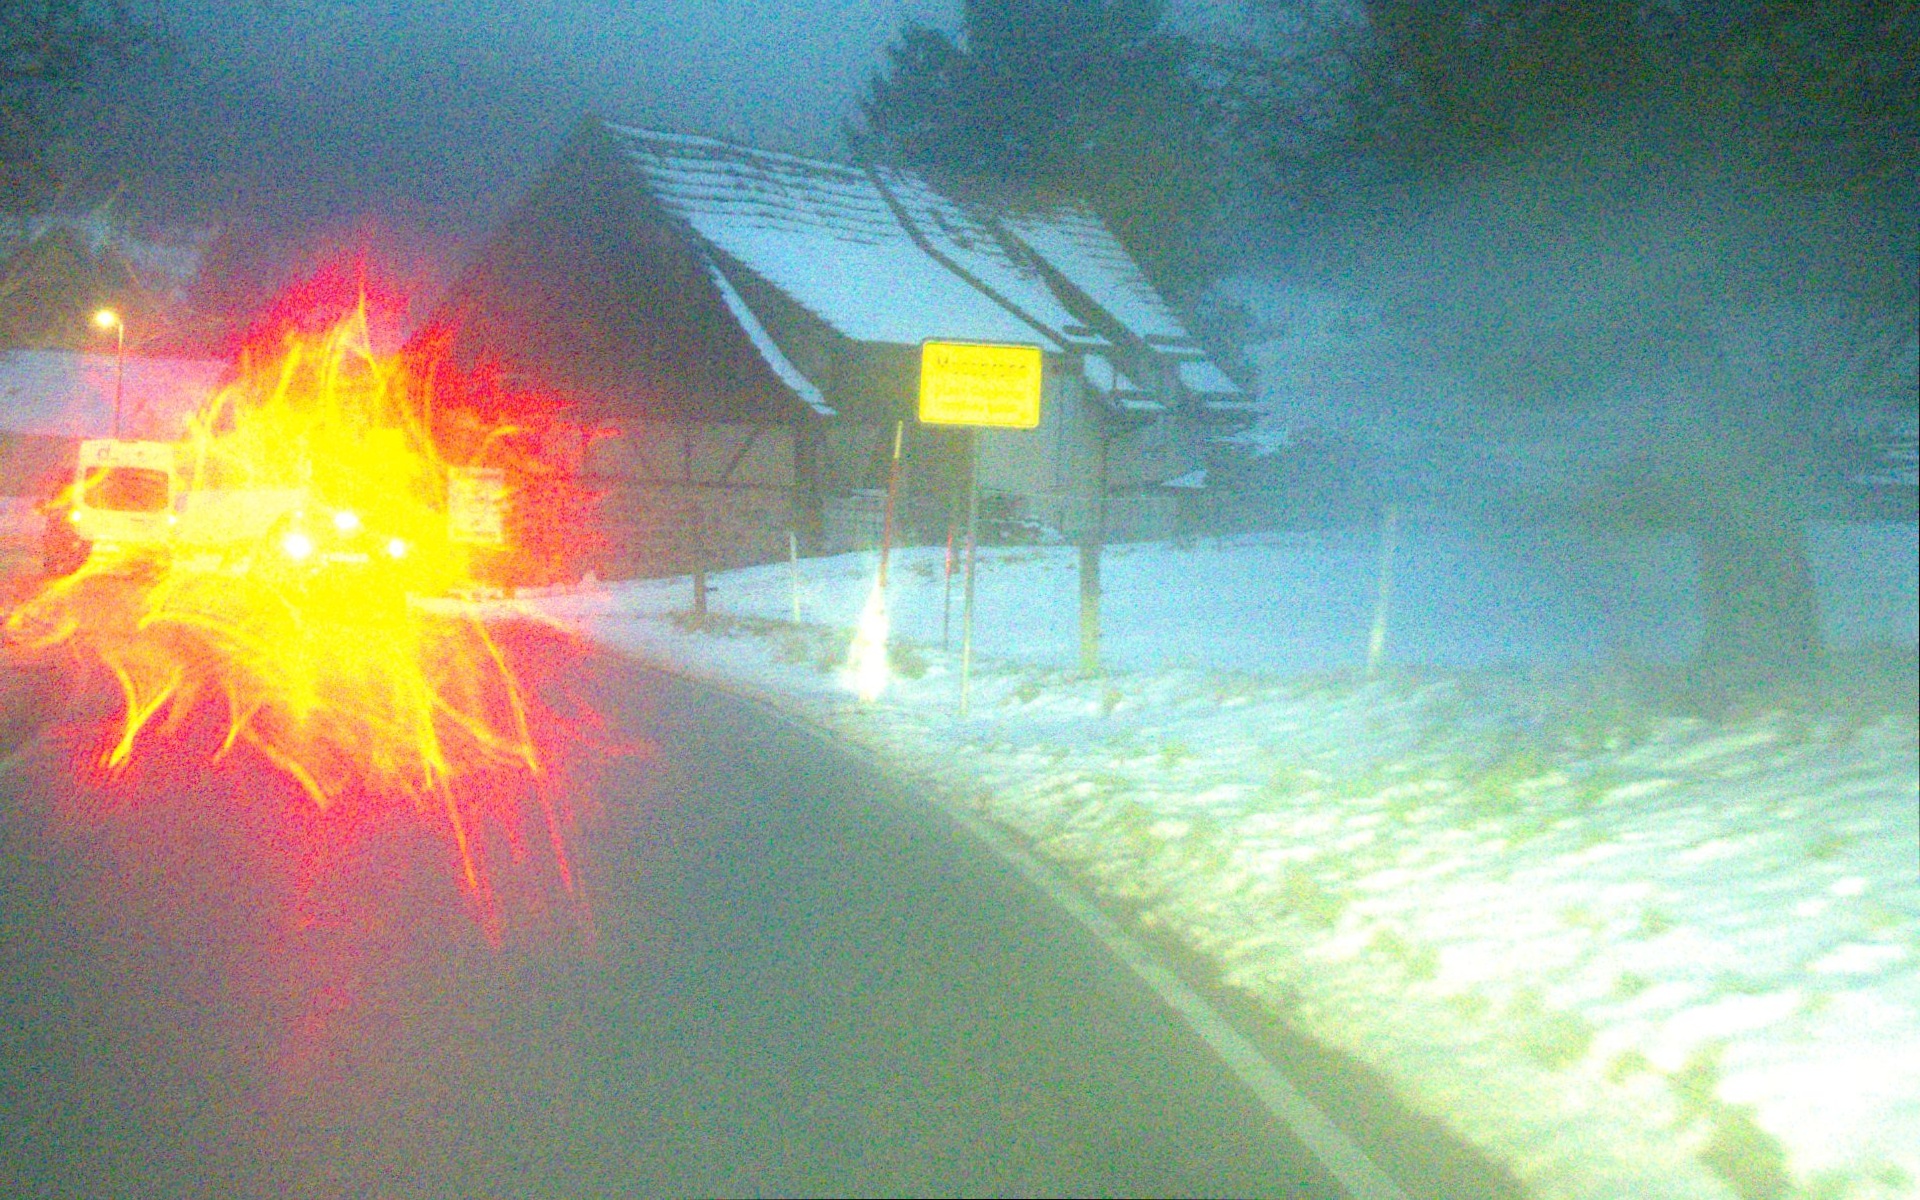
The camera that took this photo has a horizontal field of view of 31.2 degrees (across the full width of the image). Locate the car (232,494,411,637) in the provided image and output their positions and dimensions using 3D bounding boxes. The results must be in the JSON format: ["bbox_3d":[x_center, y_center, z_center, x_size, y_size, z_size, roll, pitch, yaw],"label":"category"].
[{"bbox_3d":[-8.837,-0.517,47.260,2.273,1.834,5.008,-1,2,-12],"label":"car"}]

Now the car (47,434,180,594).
[{"bbox_3d":[-16.603,-1.639,67.584,2.434,3.008,5.326,0,0,-13],"label":"car"}]
